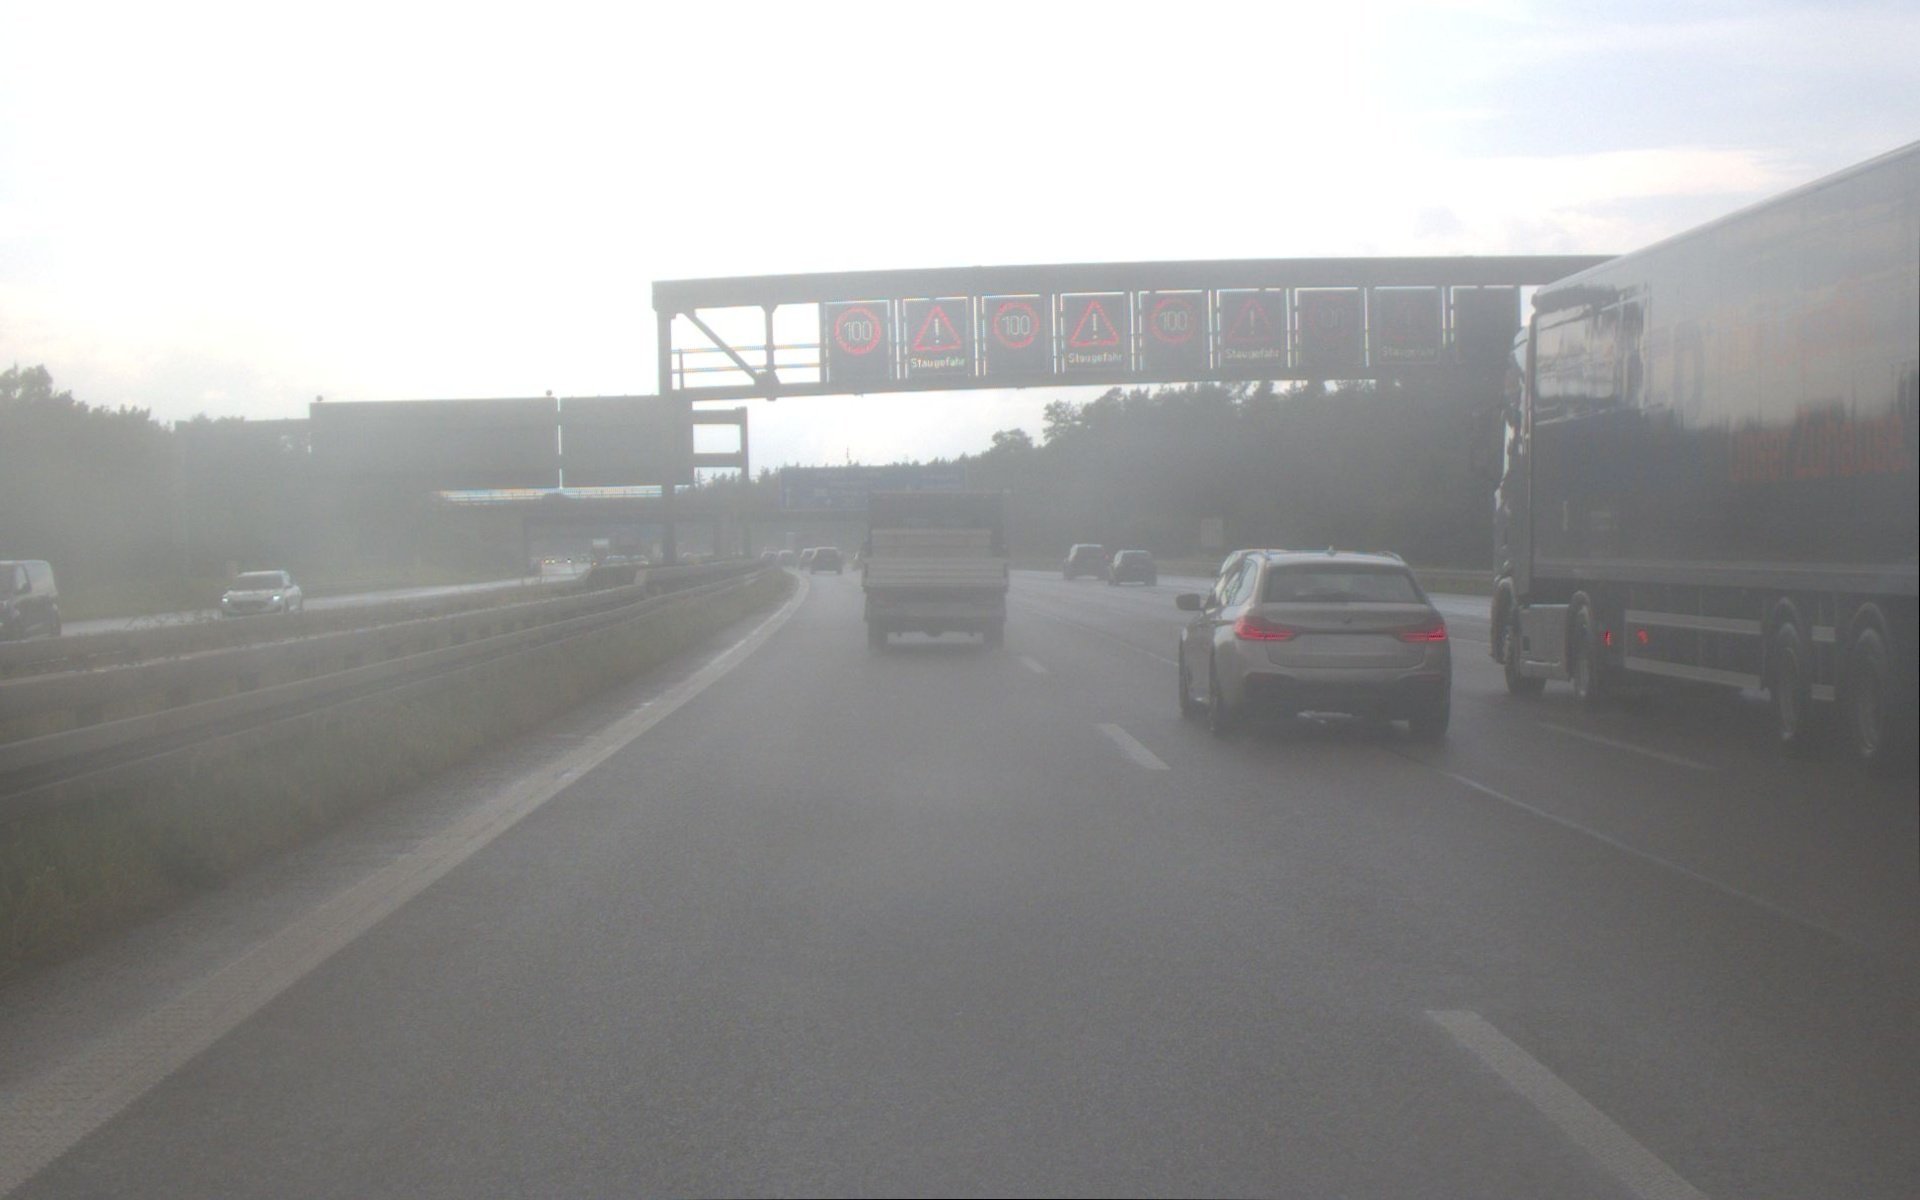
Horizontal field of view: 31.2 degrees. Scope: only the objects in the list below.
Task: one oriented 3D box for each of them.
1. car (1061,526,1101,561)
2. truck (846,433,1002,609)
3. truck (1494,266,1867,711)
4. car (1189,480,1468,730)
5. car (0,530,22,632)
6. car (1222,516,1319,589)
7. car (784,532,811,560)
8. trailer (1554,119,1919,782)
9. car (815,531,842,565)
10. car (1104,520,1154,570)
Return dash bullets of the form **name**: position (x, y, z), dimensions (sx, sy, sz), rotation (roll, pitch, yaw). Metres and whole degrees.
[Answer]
- **car**: position (5.922, -2.783, 168.963), dimensions (1.741, 1.683, 4.000), rotation (0, 1, -1)
- **truck**: position (-0.469, -1.184, 51.104), dimensions (2.137, 2.480, 5.313), rotation (0, 1, 1)
- **truck**: position (6.692, -1.027, 32.595), dimensions (2.293, 3.854, 5.393), rotation (0, 1, -1)
- **car**: position (2.978, -0.009, 28.419), dimensions (2.078, 1.878, 5.010), rotation (0, 1, 5)
- **car**: position (-18.978, -0.273, 63.467), dimensions (1.993, 1.910, 4.724), rotation (-3, 1, -1)
- **car**: position (6.338, -0.999, 70.535), dimensions (1.831, 1.461, 4.000), rotation (0, 1, 3)
- **car**: position (-12.123, -4.041, 257.253), dimensions (1.795, 2.007, 4.000), rotation (1, 1, 0)
- **trailer**: position (6.838, -1.005, 25.338), dimensions (2.323, 3.988, 13.413), rotation (0, 1, -1)
- **car**: position (-8.032, -3.209, 210.093), dimensions (1.617, 2.007, 4.001), rotation (1, 1, -1)
- **car**: position (7.034, -2.301, 143.161), dimensions (1.993, 2.007, 4.000), rotation (1, 1, 2)
